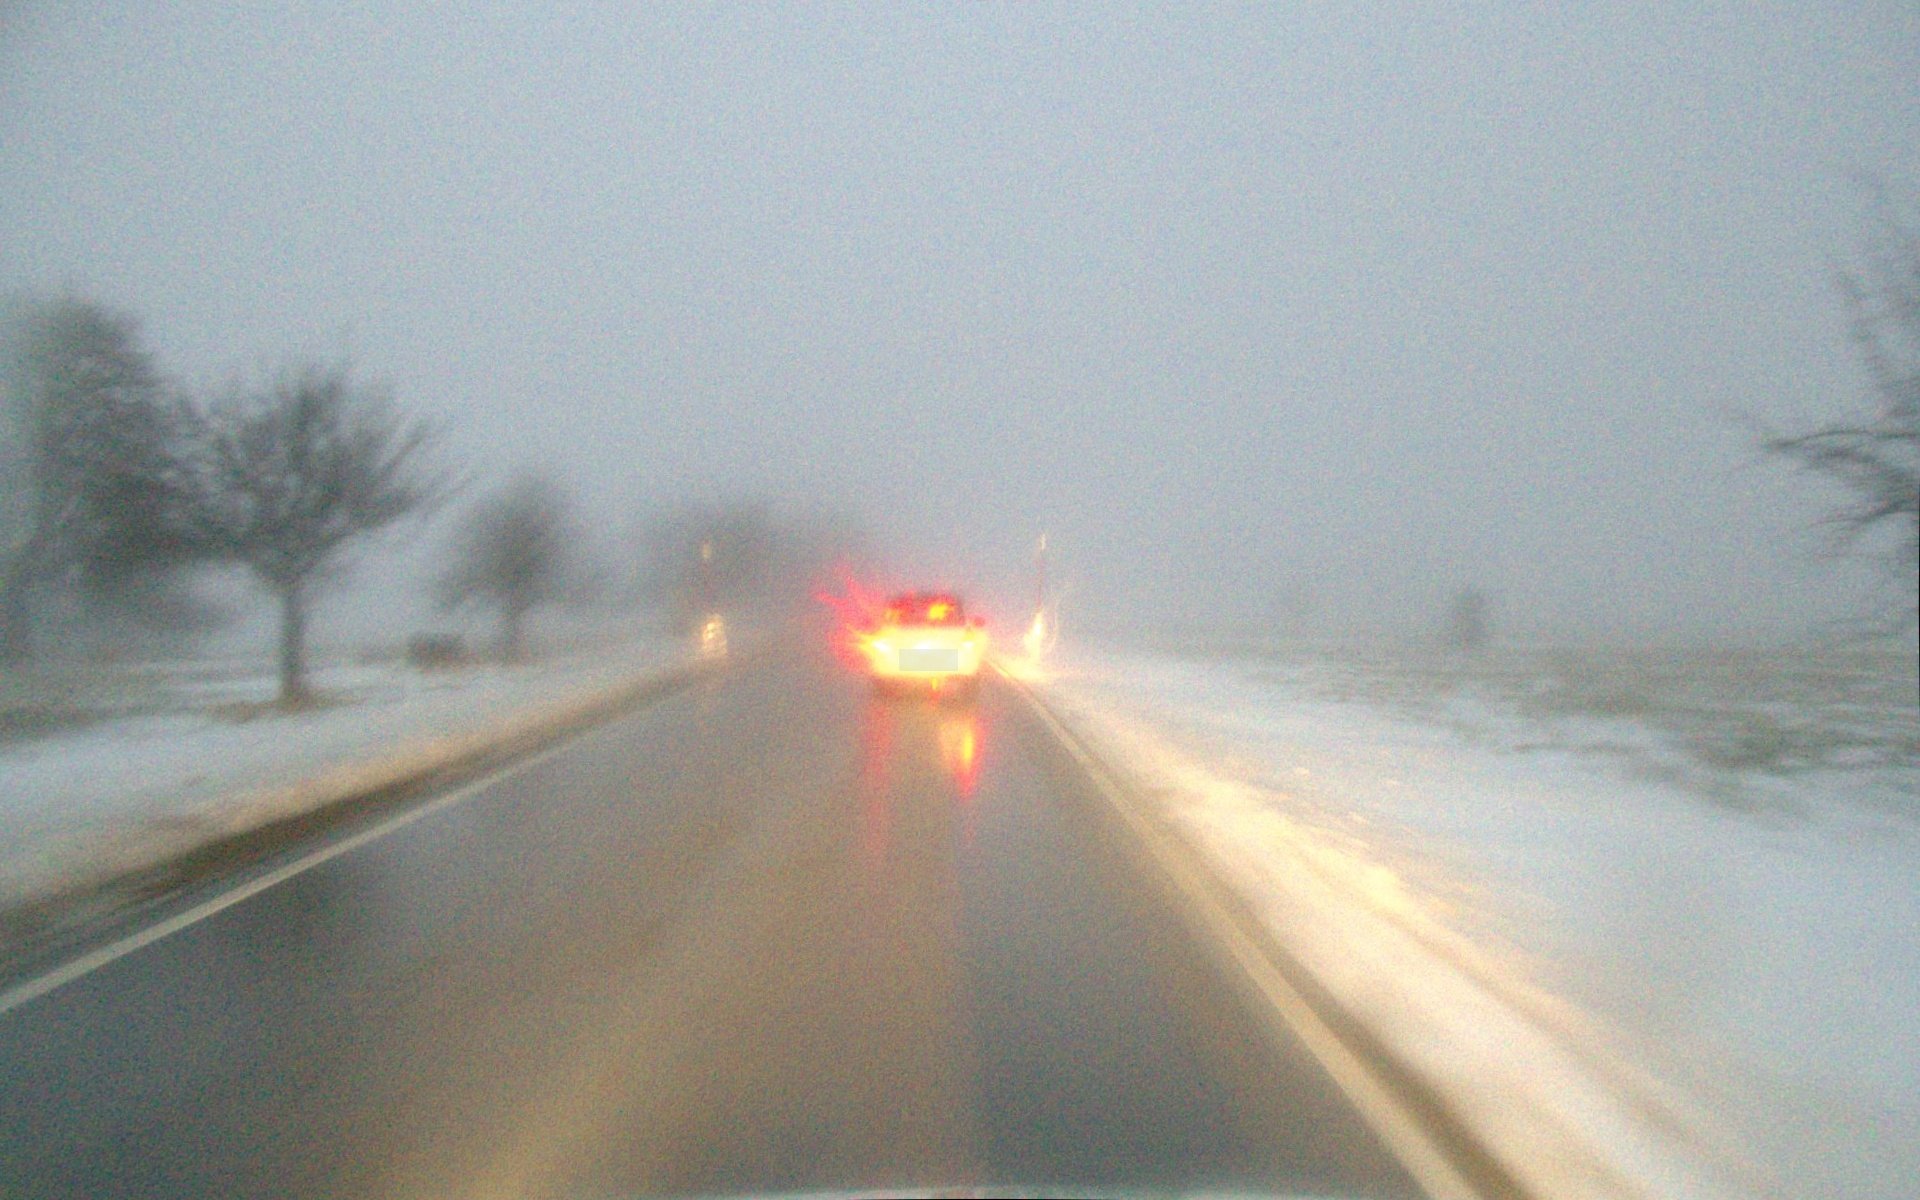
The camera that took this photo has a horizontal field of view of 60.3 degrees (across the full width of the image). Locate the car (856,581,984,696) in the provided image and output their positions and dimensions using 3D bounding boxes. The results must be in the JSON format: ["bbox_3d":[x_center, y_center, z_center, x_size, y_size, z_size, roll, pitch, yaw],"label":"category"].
[{"bbox_3d":[-0.612,0.519,23.967,1.673,1.489,3.998,1,0,-3],"label":"car"}]

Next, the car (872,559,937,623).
[{"bbox_3d":[-1.376,-0.201,41.686,1.448,1.534,3.053,-1,-1,1],"label":"car"}]
